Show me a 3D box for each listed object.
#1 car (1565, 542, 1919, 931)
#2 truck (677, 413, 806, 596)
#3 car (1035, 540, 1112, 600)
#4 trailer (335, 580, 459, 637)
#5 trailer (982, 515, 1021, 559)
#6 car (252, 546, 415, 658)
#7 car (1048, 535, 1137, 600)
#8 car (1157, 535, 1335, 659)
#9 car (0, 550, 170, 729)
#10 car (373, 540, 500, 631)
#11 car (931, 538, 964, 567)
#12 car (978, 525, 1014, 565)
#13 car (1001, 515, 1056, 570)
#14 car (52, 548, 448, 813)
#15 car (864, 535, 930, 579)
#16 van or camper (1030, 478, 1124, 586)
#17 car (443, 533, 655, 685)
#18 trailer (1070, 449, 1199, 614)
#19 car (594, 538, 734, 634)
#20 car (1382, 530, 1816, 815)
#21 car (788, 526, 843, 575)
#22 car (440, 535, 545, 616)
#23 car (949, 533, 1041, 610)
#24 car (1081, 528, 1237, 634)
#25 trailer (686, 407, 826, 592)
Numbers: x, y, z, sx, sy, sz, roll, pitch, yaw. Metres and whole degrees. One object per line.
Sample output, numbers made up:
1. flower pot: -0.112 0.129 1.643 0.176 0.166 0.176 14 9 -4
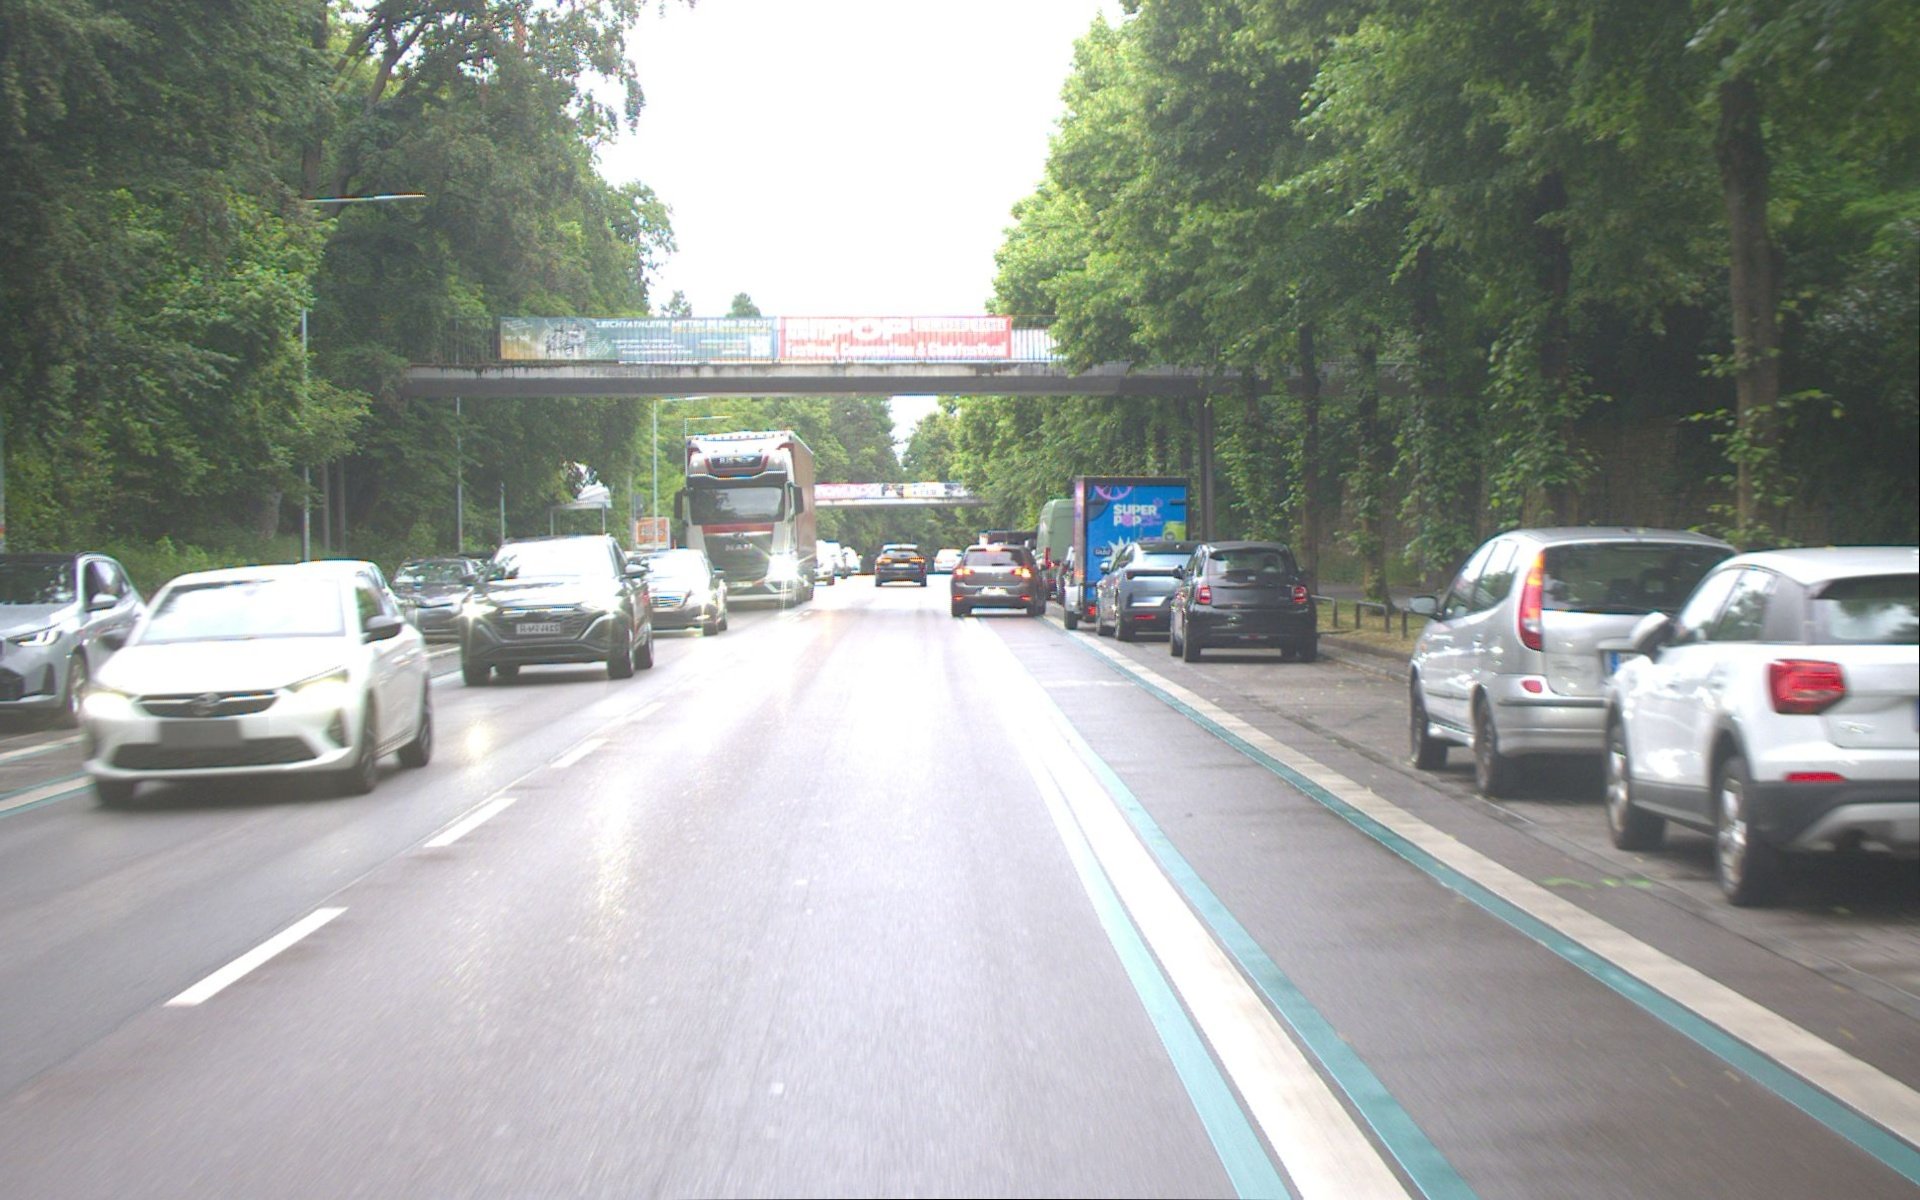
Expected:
1. car: 4.036 0.506 15.789 1.698 1.508 4.469 0 1 0
2. truck: -5.079 -2.231 80.750 2.517 4.032 4.917 -3 1 0
3. car: 2.739 -0.756 83.608 1.686 1.411 4.100 0 1 0
4. trailer: -8.972 0.126 54.996 1.542 0.816 3.305 -1 1 -2
5. trailer: 2.073 -3.192 173.421 1.884 2.158 3.808 -1 1 0
6. car: -9.111 -0.007 50.249 1.789 1.477 3.983 -2 2 -3
7. car: 2.969 -0.761 77.514 1.686 1.411 4.198 0 1 -2
8. car: 3.677 -0.077 44.852 1.825 1.498 4.571 -1 1 -1
9. car: -9.216 0.327 33.560 2.010 1.600 4.780 0 1 -2
10. car: -9.199 -0.285 60.701 1.831 1.472 4.041 -1 2 -4
11. car: -0.710 -2.643 190.765 1.731 1.578 4.037 -2 1 -1
12. car: 1.978 -3.043 190.252 1.889 2.120 4.045 -1 1 0
13. car: 2.566 -2.177 130.077 1.926 2.015 4.664 0 1 -1
14. car: -4.508 0.445 22.404 1.775 1.461 4.063 -3 1 -2
15. car: -2.187 -1.493 118.817 2.140 1.487 4.499 -1 1 -3
16. van or camper: 3.037 -1.798 90.736 2.042 2.720 6.901 0 1 -2
17. car: -4.741 0.054 40.235 1.961 1.611 4.466 -2 1 -1
18. trailer: 2.991 -1.192 59.733 1.952 2.749 4.007 -1 1 -1
19. car: -5.004 -0.271 58.713 1.915 1.451 4.621 -3 1 0
20. car: 3.871 0.358 21.624 1.753 1.591 4.740 0 1 -1
21. car: -5.259 -1.812 125.605 1.834 1.660 4.181 -3 1 -1
22. car: -9.710 -0.537 71.586 1.687 1.541 4.233 -1 2 -2
23. car: 0.700 -0.608 69.979 1.818 1.503 4.139 0 1 0
24. car: 3.065 -0.339 53.792 1.899 1.542 4.756 1 1 -3
25. trailer: -5.103 -2.531 88.344 2.687 4.244 12.770 -3 1 0
